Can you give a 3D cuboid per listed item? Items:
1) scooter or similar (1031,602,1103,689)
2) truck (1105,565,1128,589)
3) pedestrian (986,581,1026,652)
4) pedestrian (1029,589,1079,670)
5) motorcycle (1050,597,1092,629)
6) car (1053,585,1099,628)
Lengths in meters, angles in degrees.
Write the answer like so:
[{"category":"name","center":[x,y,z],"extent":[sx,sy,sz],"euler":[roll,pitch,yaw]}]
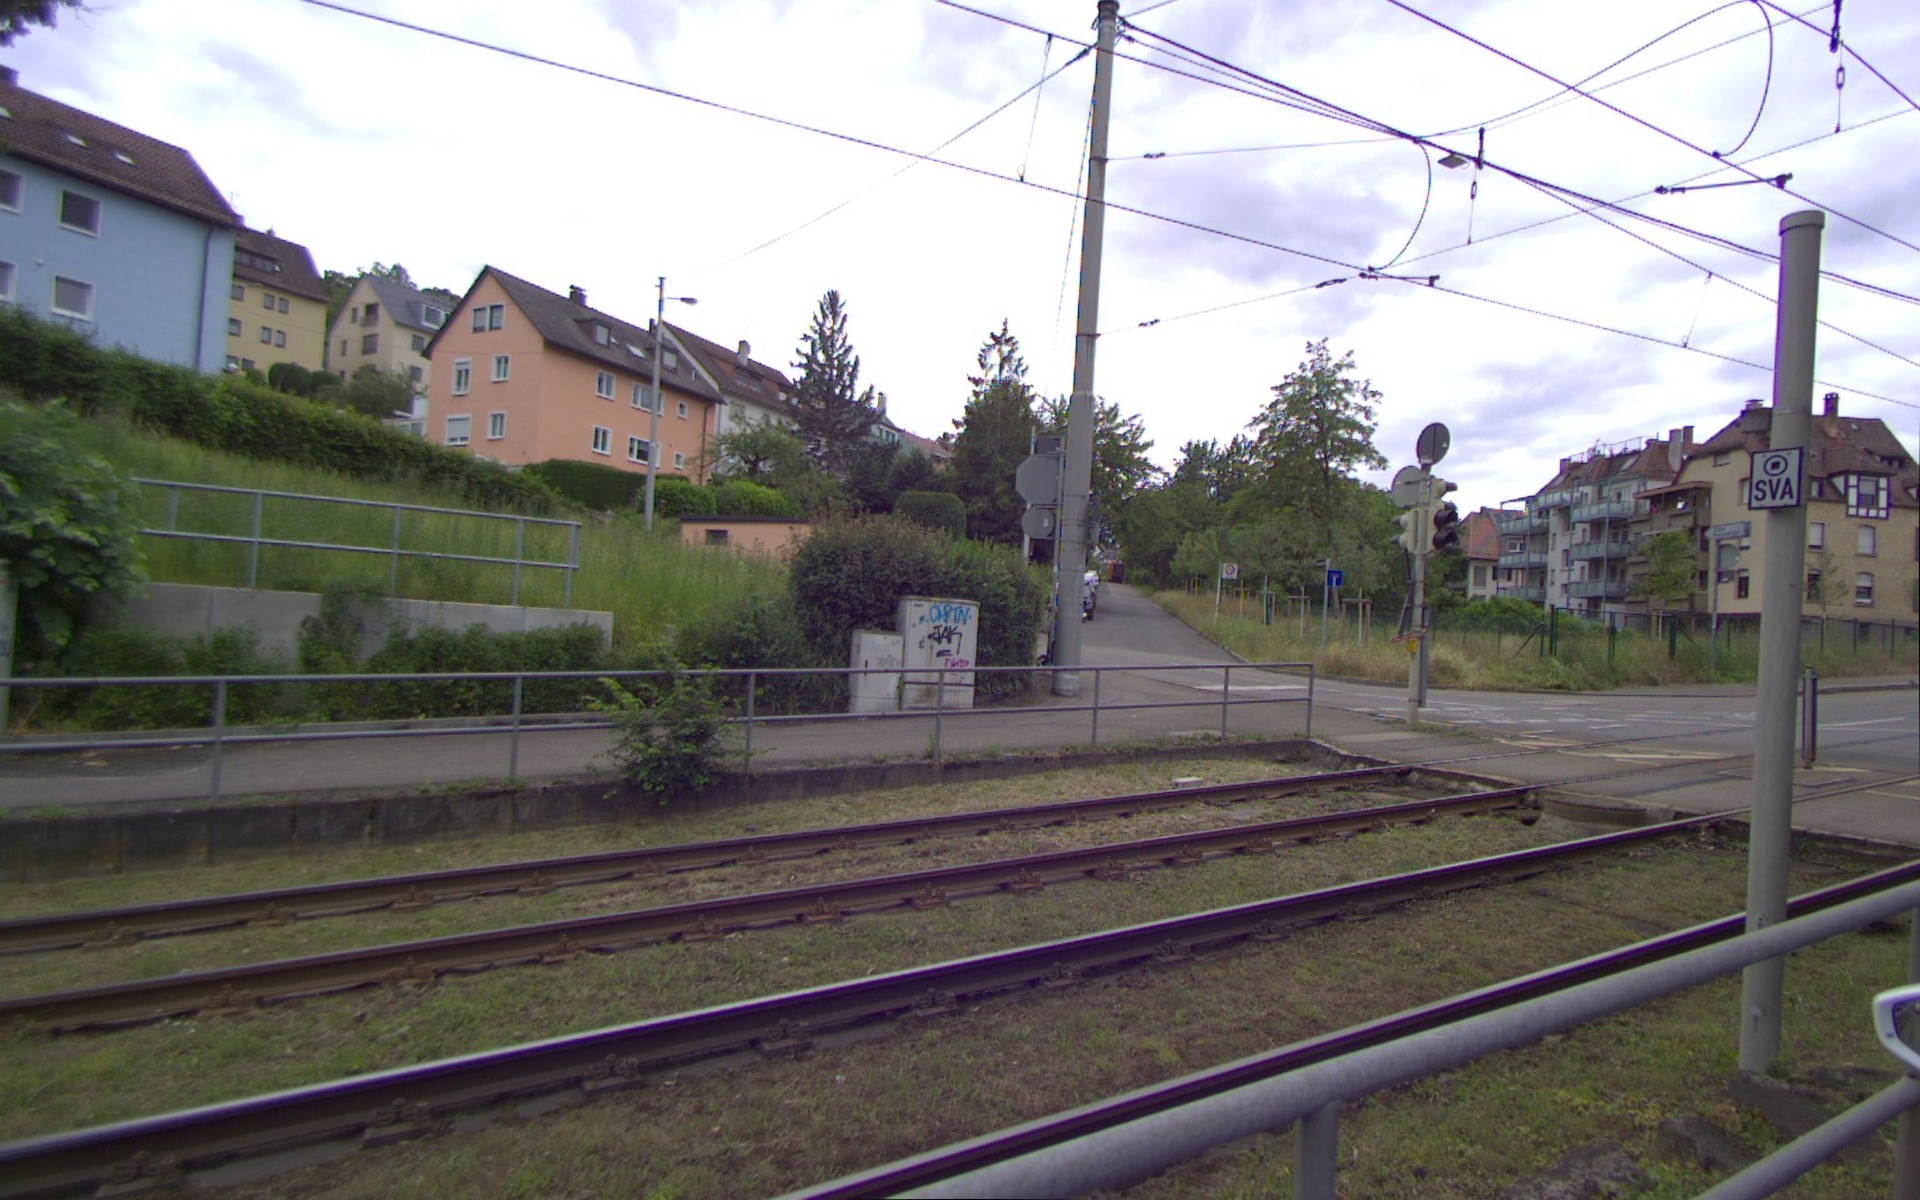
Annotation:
[{"category":"scooter or similar","center":[1.781,0.739,16.935],"extent":[0.413,1.306,1.402],"euler":[2,3,-28]},{"category":"truck","center":[26.346,-3.797,169.816],"extent":[3.488,3.648,8.205],"euler":[2,-1,7]},{"category":"pedestrian","center":[1.181,0.430,25.770],"extent":[0.730,1.773,0.899],"euler":[2,-1,-16]},{"category":"pedestrian","center":[1.908,0.591,20.383],"extent":[0.744,1.595,0.751],"euler":[2,-1,-16]},{"category":"motorcycle","center":[4.751,0.552,43.128],"extent":[1.671,1.171,0.522],"euler":[6,0,6]},{"category":"car","center":[5.436,0.250,46.537],"extent":[1.937,1.713,4.452],"euler":[2,2,8]}]
